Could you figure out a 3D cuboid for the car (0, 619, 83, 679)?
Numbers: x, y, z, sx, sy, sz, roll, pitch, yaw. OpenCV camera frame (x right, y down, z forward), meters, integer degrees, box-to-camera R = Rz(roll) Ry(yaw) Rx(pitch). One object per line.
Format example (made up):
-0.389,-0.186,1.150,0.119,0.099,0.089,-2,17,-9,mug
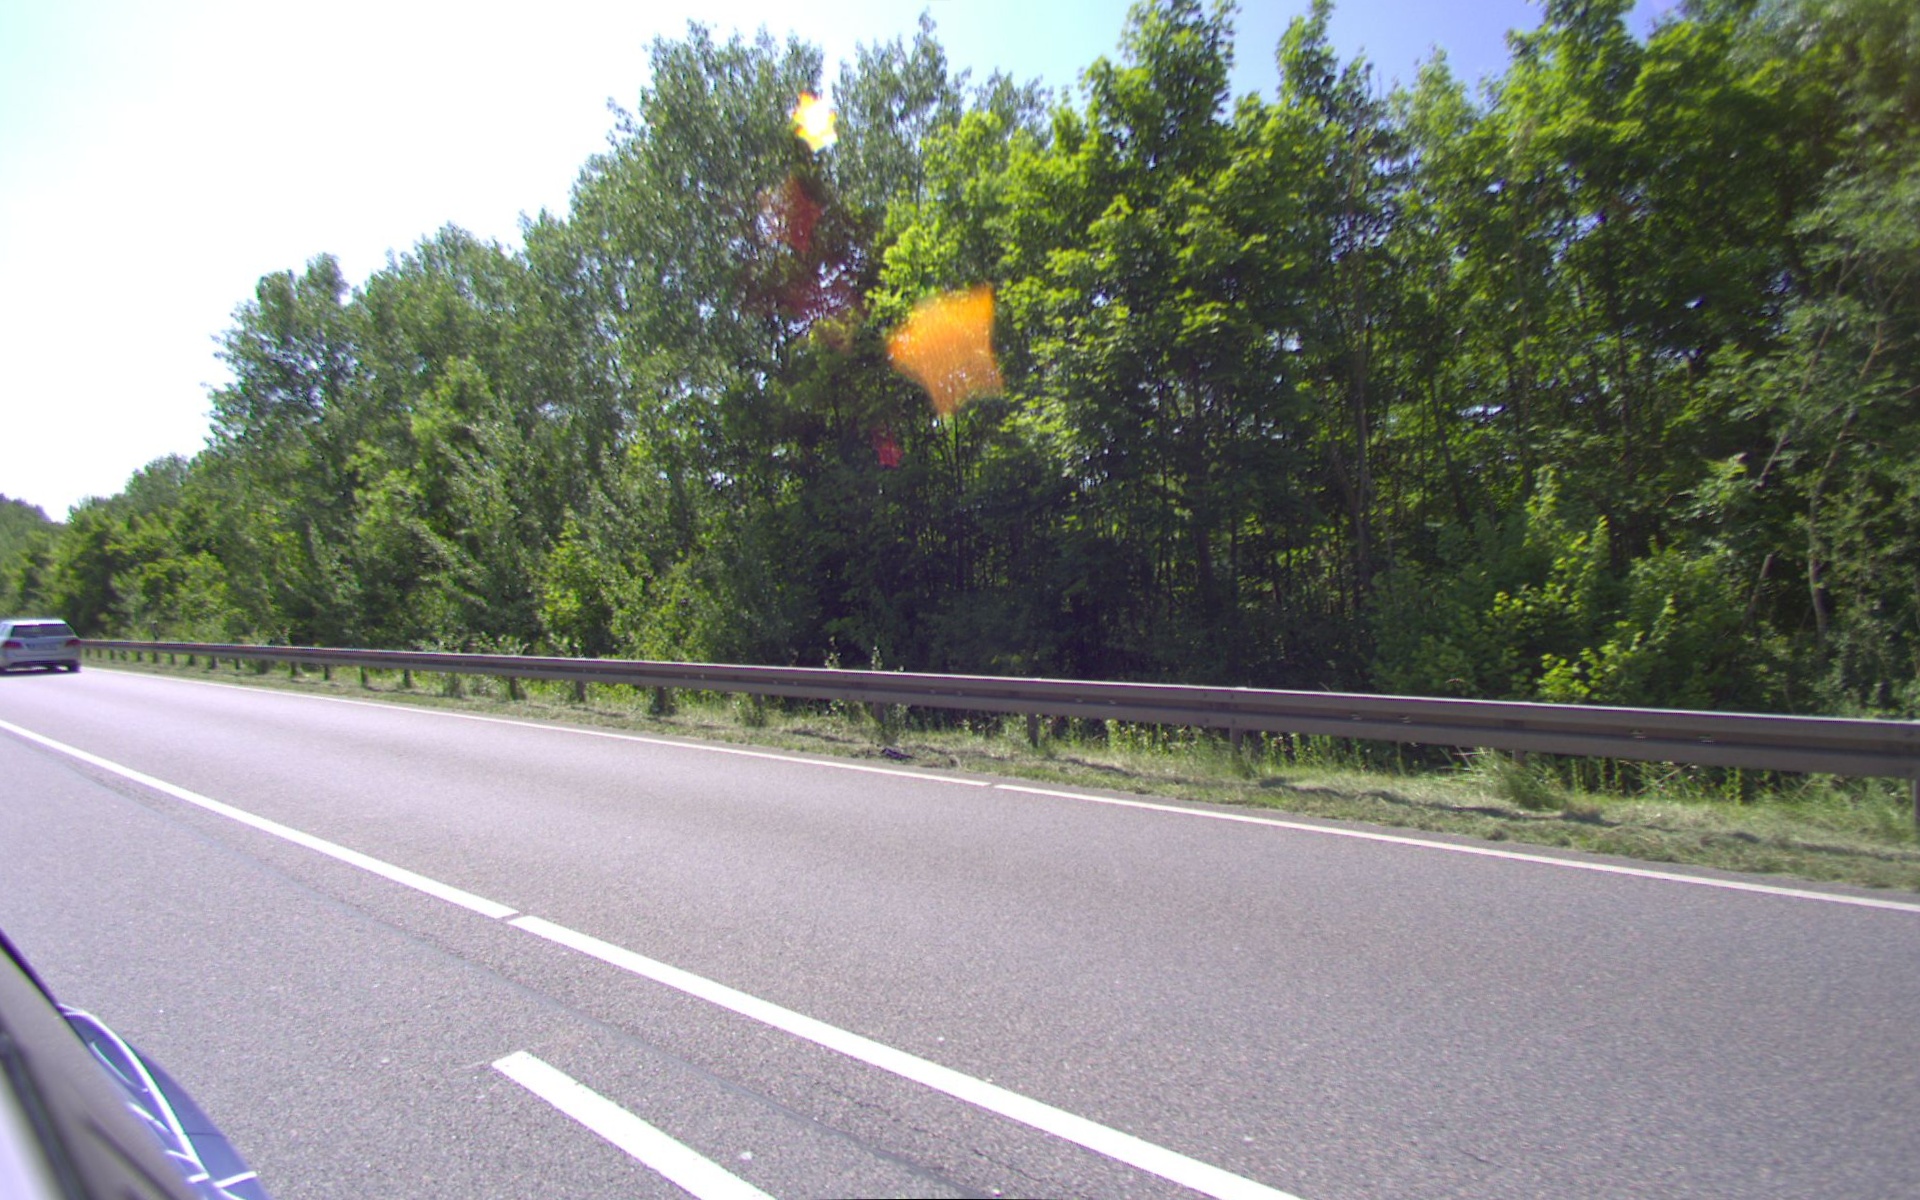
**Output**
-26.568,1.329,28.699,4.521,1.558,1.800,-1,0,39,car
